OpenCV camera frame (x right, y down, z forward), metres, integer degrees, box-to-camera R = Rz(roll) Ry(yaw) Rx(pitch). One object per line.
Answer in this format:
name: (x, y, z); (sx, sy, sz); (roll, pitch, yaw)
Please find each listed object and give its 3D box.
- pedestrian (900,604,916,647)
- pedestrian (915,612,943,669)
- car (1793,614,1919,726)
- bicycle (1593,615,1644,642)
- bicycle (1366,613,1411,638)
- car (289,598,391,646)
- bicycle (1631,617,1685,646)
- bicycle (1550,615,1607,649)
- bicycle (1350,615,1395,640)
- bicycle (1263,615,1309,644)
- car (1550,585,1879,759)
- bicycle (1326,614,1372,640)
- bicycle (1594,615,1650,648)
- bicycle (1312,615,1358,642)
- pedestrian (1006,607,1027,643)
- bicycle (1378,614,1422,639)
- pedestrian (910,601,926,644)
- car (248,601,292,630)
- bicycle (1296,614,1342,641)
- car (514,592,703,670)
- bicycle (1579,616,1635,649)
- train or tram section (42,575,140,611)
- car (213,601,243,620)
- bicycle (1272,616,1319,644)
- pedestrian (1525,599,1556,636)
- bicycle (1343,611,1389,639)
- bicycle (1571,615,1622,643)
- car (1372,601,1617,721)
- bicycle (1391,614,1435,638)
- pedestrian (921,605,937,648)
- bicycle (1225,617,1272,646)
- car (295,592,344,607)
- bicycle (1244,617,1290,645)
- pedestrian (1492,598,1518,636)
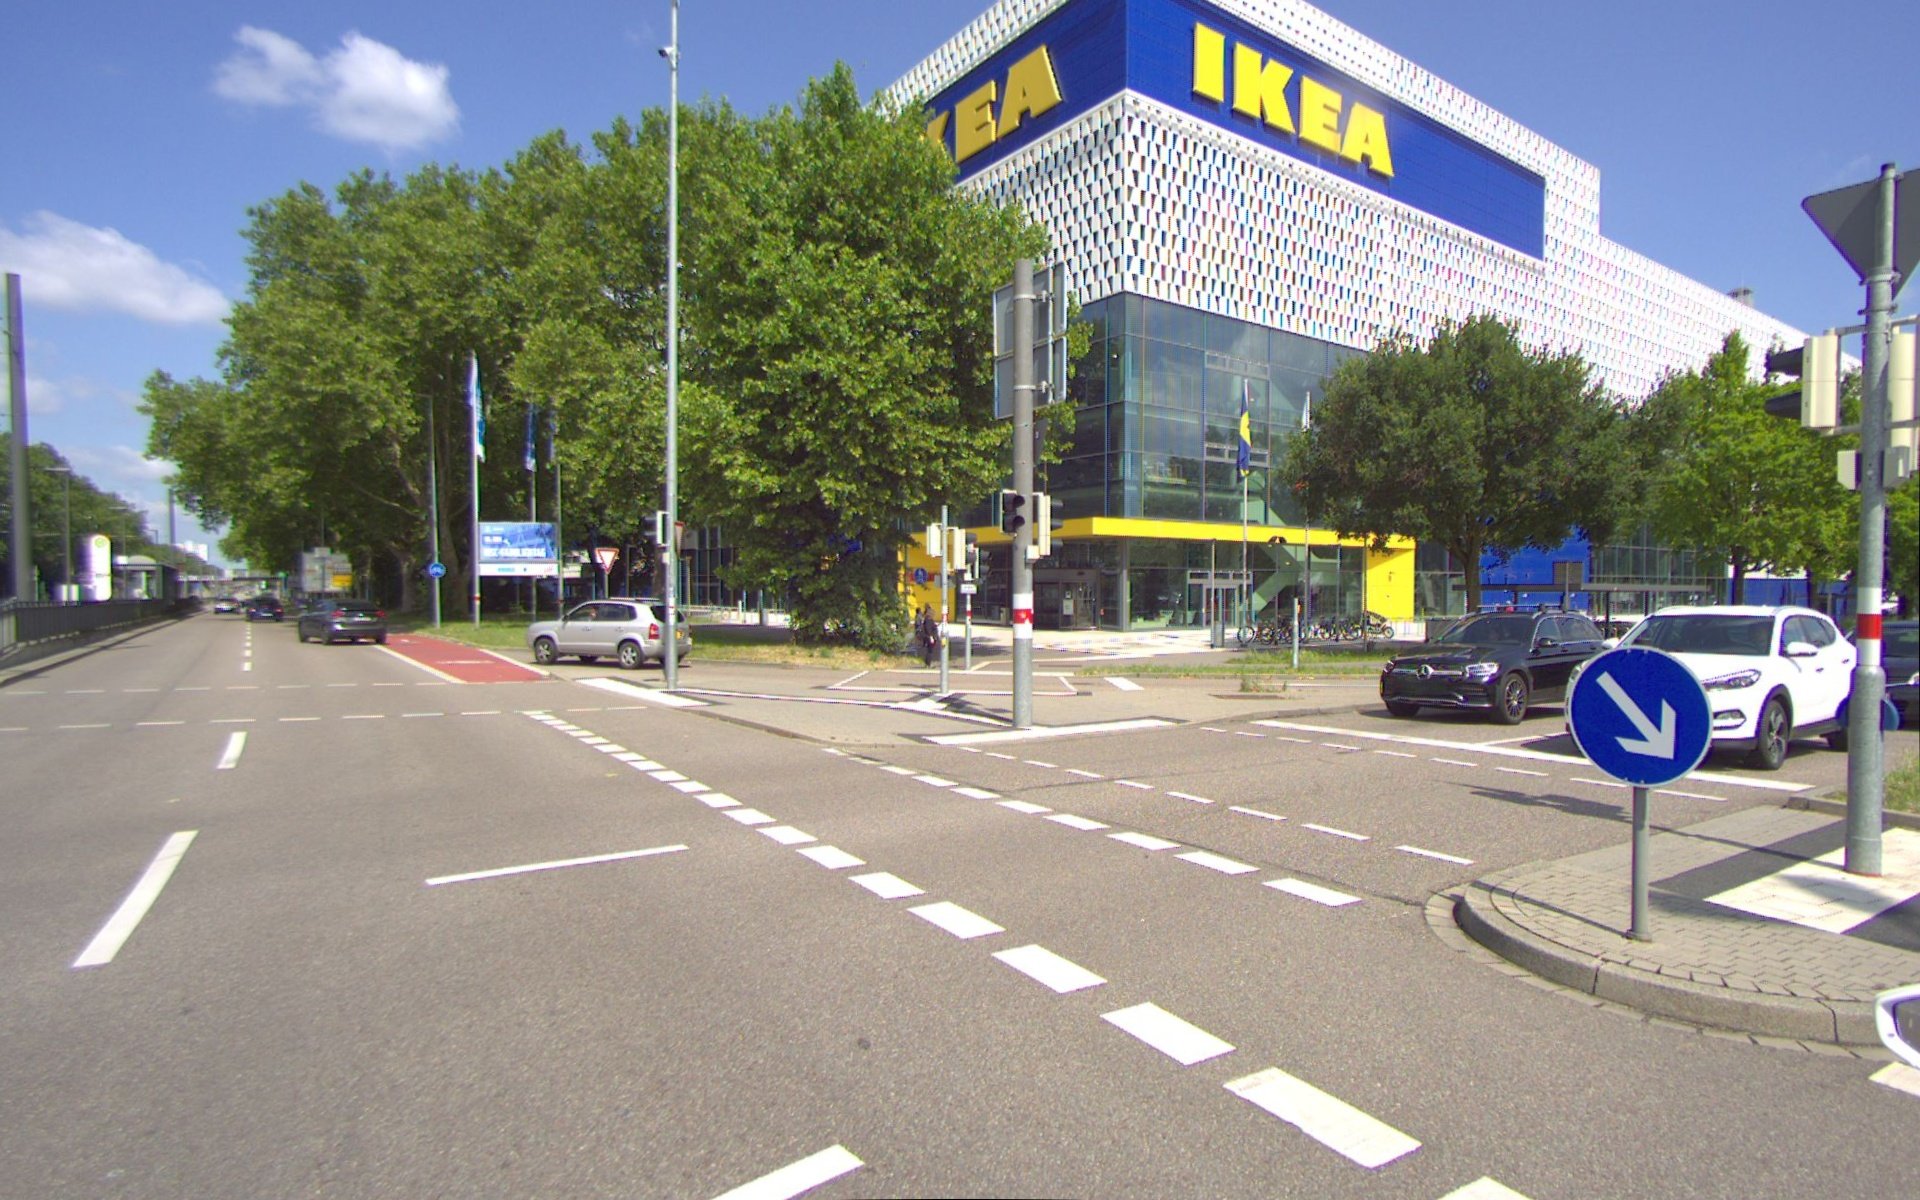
pedestrian: (-2.128, 1.033, 41.298); (0.407, 1.726, 0.521); (-1, 2, -42)
pedestrian: (-0.834, 1.078, 26.966); (0.432, 1.510, 0.617); (2, 1, 39)
car: (14.353, 1.005, 15.256); (4.090, 1.513, 1.593); (2, -2, -35)
bicycle: (31.369, 1.351, 47.852); (0.623, 1.200, 1.913); (0, 2, -33)
bicycle: (20.367, 1.214, 47.788); (0.559, 1.146, 1.916); (1, 0, -37)
car: (-20.809, 0.689, 33.640); (4.193, 1.397, 2.009); (2, 2, 45)
bicycle: (31.766, 1.432, 45.727); (0.623, 1.199, 1.913); (0, 2, -33)
bicycle: (25.595, 1.312, 41.592); (0.623, 1.290, 1.913); (0, 2, -33)
bicycle: (19.217, 1.265, 46.811); (0.559, 1.146, 1.916); (1, 0, -37)
bicycle: (13.946, 1.238, 42.982); (0.463, 1.188, 1.941); (1, 0, -37)
car: (8.649, 0.756, 11.406); (4.333, 1.641, 1.697); (2, -2, -34)
bicycle: (17.663, 1.205, 45.663); (0.524, 1.084, 1.919); (1, 1, -37)
bicycle: (28.706, 1.348, 43.602); (0.623, 1.290, 1.913); (0, 2, -33)
bicycle: (16.763, 1.280, 44.925); (0.515, 1.104, 1.915); (0, 2, -37)
pedestrian: (2.831, 1.245, 50.390); (0.880, 1.729, 0.711); (2, 1, 17)
bicycle: (21.273, 1.258, 48.588); (0.559, 1.146, 1.916); (1, 0, -37)
pedestrian: (-1.690, 0.902, 40.275); (0.446, 1.726, 0.399); (0, 2, -40)
car: (-41.556, 0.918, 60.454); (1.982, 1.617, 3.957); (1, 0, -37)
bicycle: (15.789, 1.209, 44.228); (0.524, 1.084, 1.919); (1, 1, -37)
car: (-8.889, 0.722, 25.475); (4.166, 1.747, 2.022); (1, 2, 19)
bicycle: (27.640, 1.366, 42.944); (0.623, 1.290, 1.913); (0, 2, -33)
train or tram section: (-84.360, -0.537, 98.155); (4.485, 3.072, 24.886); (0, -1, -35)
car: (-61.481, 0.873, 84.363); (1.982, 1.483, 3.957); (1, 0, -37)
bicycle: (14.488, 1.286, 43.392); (0.524, 1.084, 1.919); (1, 1, -37)
pedestrian: (27.941, 0.860, 48.361); (0.877, 1.725, 0.944); (1, 2, -34)
bicycle: (18.754, 1.161, 46.447); (0.524, 1.226, 1.919); (1, 1, -37)
bicycle: (29.648, 1.332, 46.797); (0.623, 1.195, 1.913); (0, 2, -33)
car: (8.330, 0.928, 15.559); (3.960, 1.636, 1.759); (3, -3, -35)
bicycle: (22.253, 1.277, 49.385); (0.559, 1.120, 1.916); (1, 0, -37)
pedestrian: (-1.252, 1.062, 40.609); (0.512, 1.726, 0.405); (0, 2, -40)
bicycle: (11.869, 1.290, 41.352); (0.524, 1.084, 1.919); (1, 1, -37)
car: (-68.792, -0.071, 107.947); (3.925, 1.484, 1.998); (1, 1, -7)
bicycle: (12.910, 1.300, 42.288); (0.524, 1.084, 1.919); (1, 1, -37)
pedestrian: (26.985, 0.850, 49.773); (0.877, 1.847, 0.749); (1, 2, -34)
